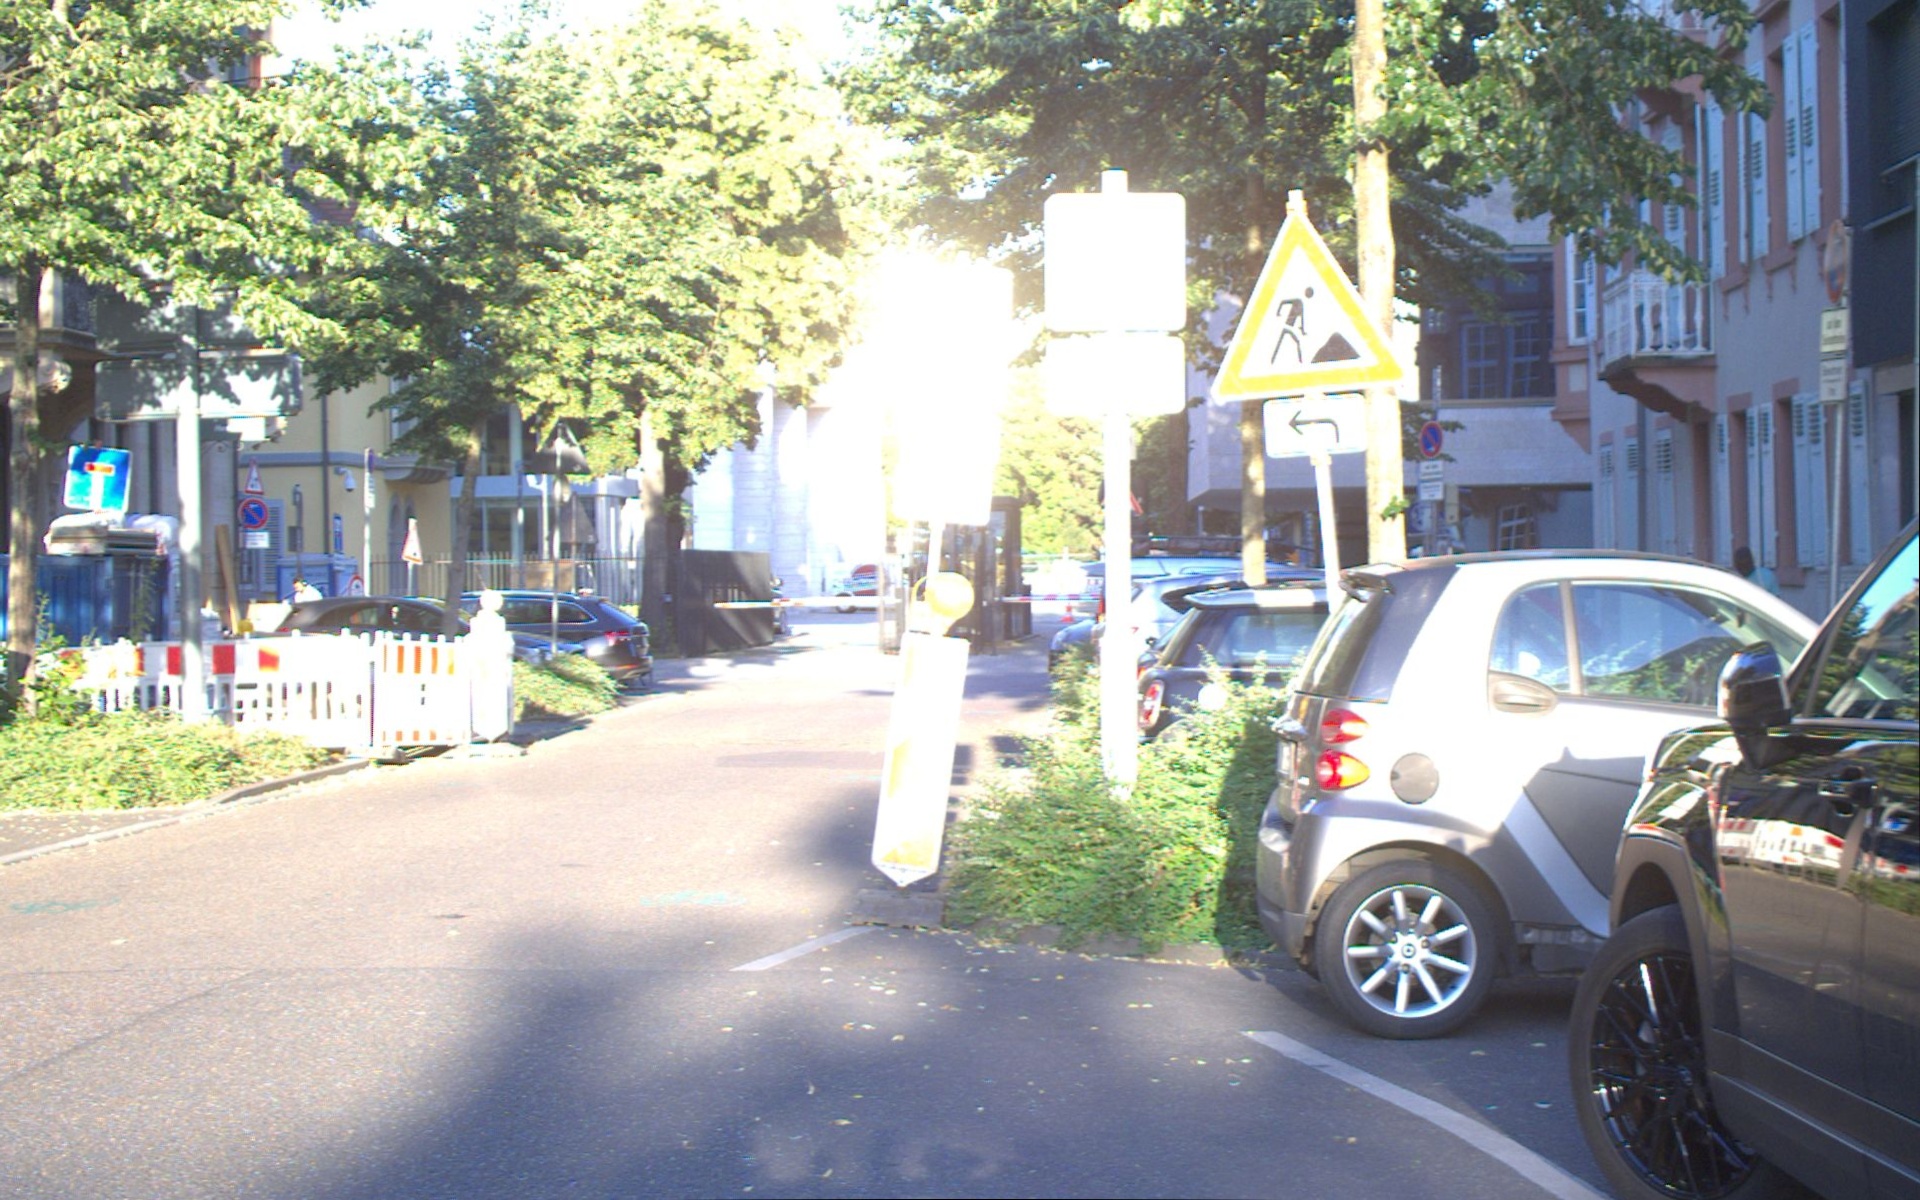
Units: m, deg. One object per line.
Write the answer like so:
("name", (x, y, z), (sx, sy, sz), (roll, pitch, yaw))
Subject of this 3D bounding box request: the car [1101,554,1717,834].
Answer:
("car", (2.775, 0.565, 21.904), (3.685, 1.664, 1.858), (1, 0, 1))

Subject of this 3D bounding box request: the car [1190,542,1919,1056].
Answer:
("car", (2.619, 0.599, 11.567), (3.469, 1.570, 1.508), (-1, 1, -5))

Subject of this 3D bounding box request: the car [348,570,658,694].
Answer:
("car", (-6.391, 0.440, 48.294), (3.988, 1.678, 1.890), (0, 1, 5))

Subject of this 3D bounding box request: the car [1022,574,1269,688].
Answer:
("car", (2.728, 0.422, 49.901), (1.856, 1.563, 3.689), (1, 1, 36))

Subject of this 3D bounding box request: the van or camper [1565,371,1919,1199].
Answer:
("van or camper", (2.451, 0.531, 5.831), (1.889, 1.801, 4.461), (0, 1, -2))

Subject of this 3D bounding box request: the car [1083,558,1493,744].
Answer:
("car", (3.033, 0.457, 32.372), (3.685, 1.664, 1.858), (1, 0, 1))

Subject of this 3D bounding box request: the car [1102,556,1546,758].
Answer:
("car", (3.120, 0.473, 30.055), (3.685, 1.664, 1.858), (1, 0, 1))

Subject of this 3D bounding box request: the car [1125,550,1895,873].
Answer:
("car", (2.955, 0.578, 19.158), (3.995, 1.664, 1.858), (1, 0, 1))

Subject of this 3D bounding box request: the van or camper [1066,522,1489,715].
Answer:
("van or camper", (3.402, 0.183, 37.468), (4.440, 1.999, 1.858), (1, 0, 1))

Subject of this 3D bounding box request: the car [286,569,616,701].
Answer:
("car", (-6.716, 0.451, 45.618), (3.988, 1.678, 1.890), (0, 1, 5))
